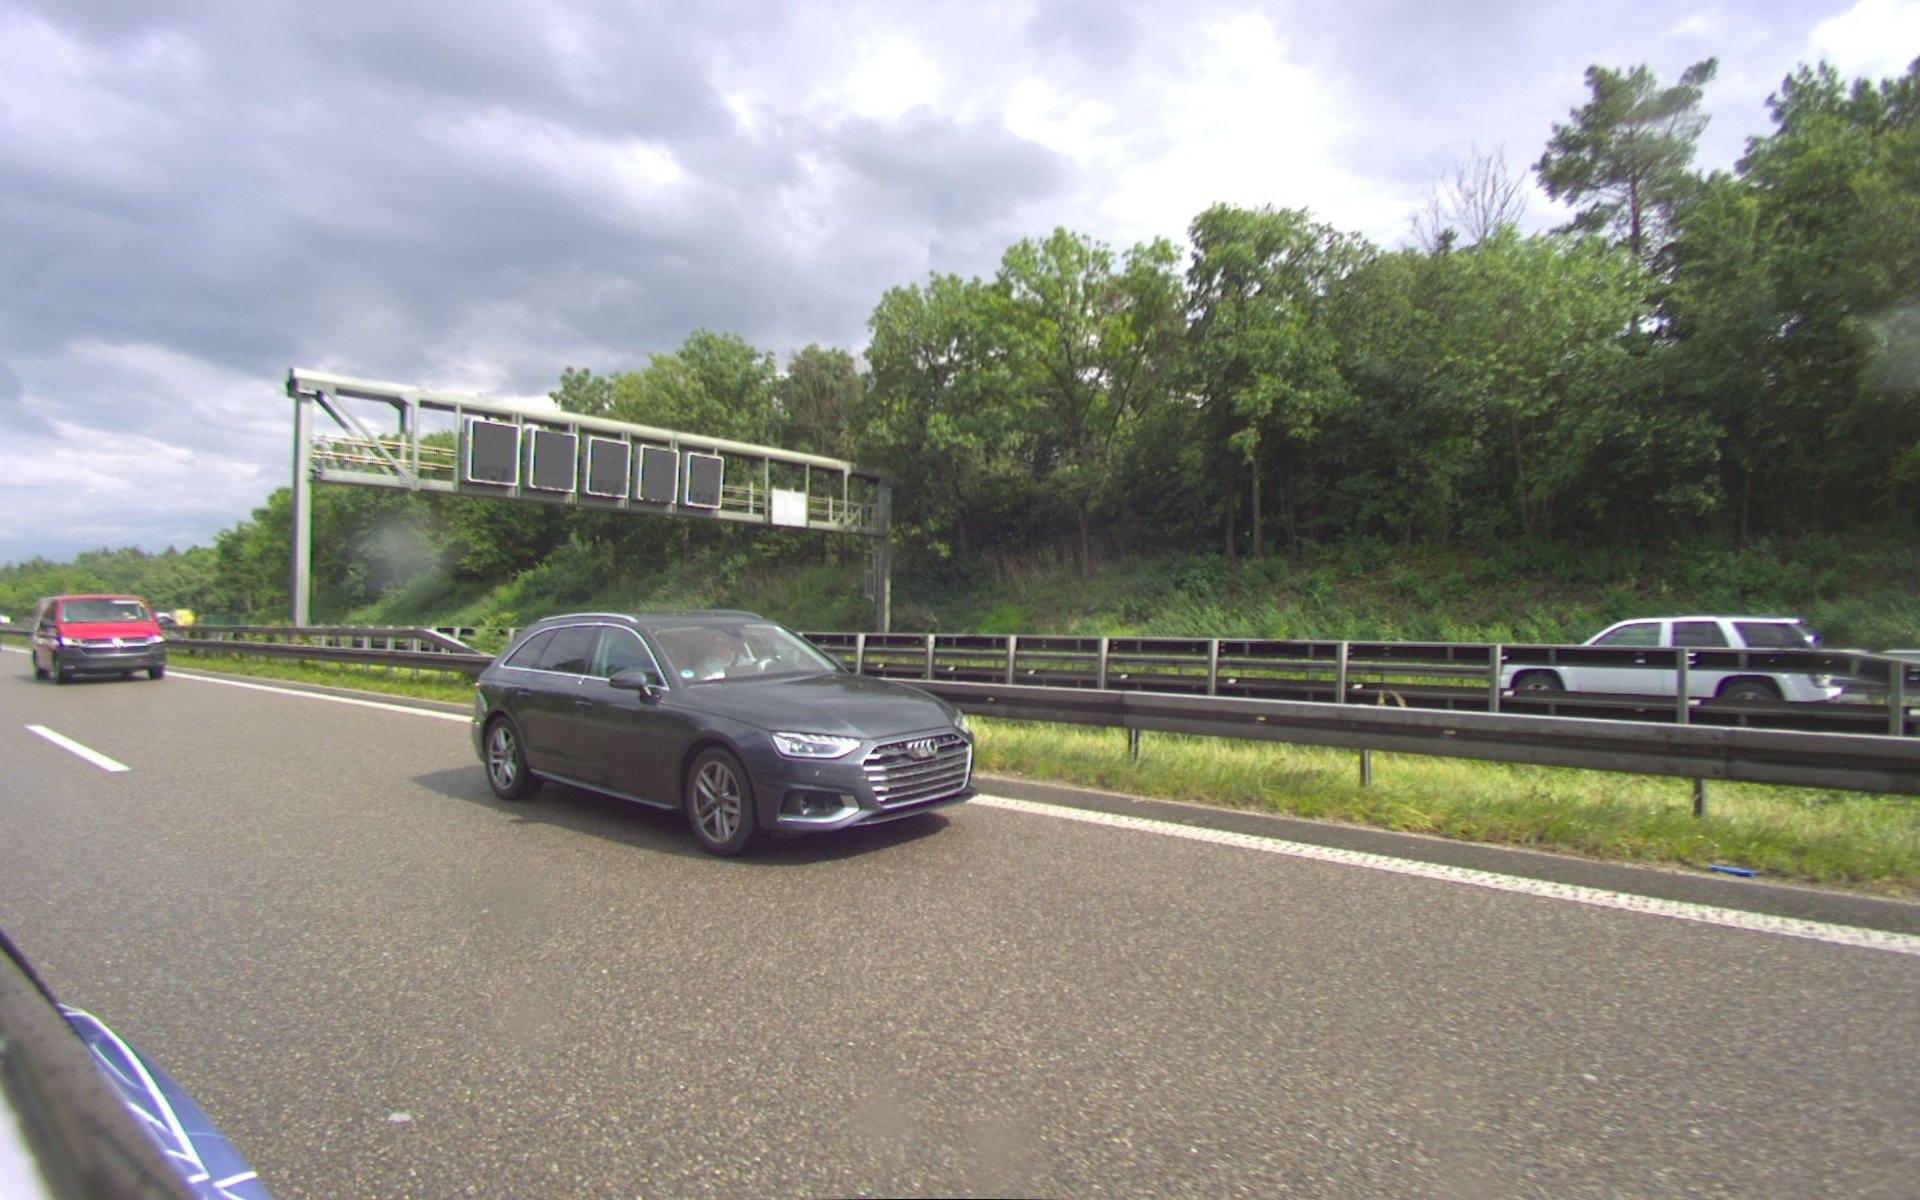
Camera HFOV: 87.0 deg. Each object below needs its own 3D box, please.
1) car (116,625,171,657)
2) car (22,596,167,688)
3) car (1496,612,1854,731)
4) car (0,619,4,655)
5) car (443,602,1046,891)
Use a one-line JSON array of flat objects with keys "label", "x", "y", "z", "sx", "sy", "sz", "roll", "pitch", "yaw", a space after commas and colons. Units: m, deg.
[{"label": "car", "x": -46.556, "y": 2.287, "z": 57.704, "sx": 4.110, "sy": 1.675, "sz": 1.748, "roll": -1, "pitch": 0, "yaw": 41}, {"label": "car", "x": -19.802, "y": 0.888, "z": 23.090, "sx": 4.838, "sy": 1.880, "sz": 1.901, "roll": -1, "pitch": 0, "yaw": 42}, {"label": "car", "x": 11.616, "y": 1.051, "z": 16.691, "sx": 4.628, "sy": 1.675, "sz": 1.810, "roll": -1, "pitch": 0, "yaw": 41}, {"label": "car", "x": -42.603, "y": 1.581, "z": 43.386, "sx": 4.838, "sy": 1.508, "sz": 1.983, "roll": -1, "pitch": 0, "yaw": 42}, {"label": "car", "x": -1.846, "y": 0.756, "z": 7.339, "sx": 4.838, "sy": 1.429, "sz": 1.775, "roll": -1, "pitch": 0, "yaw": 42}]
